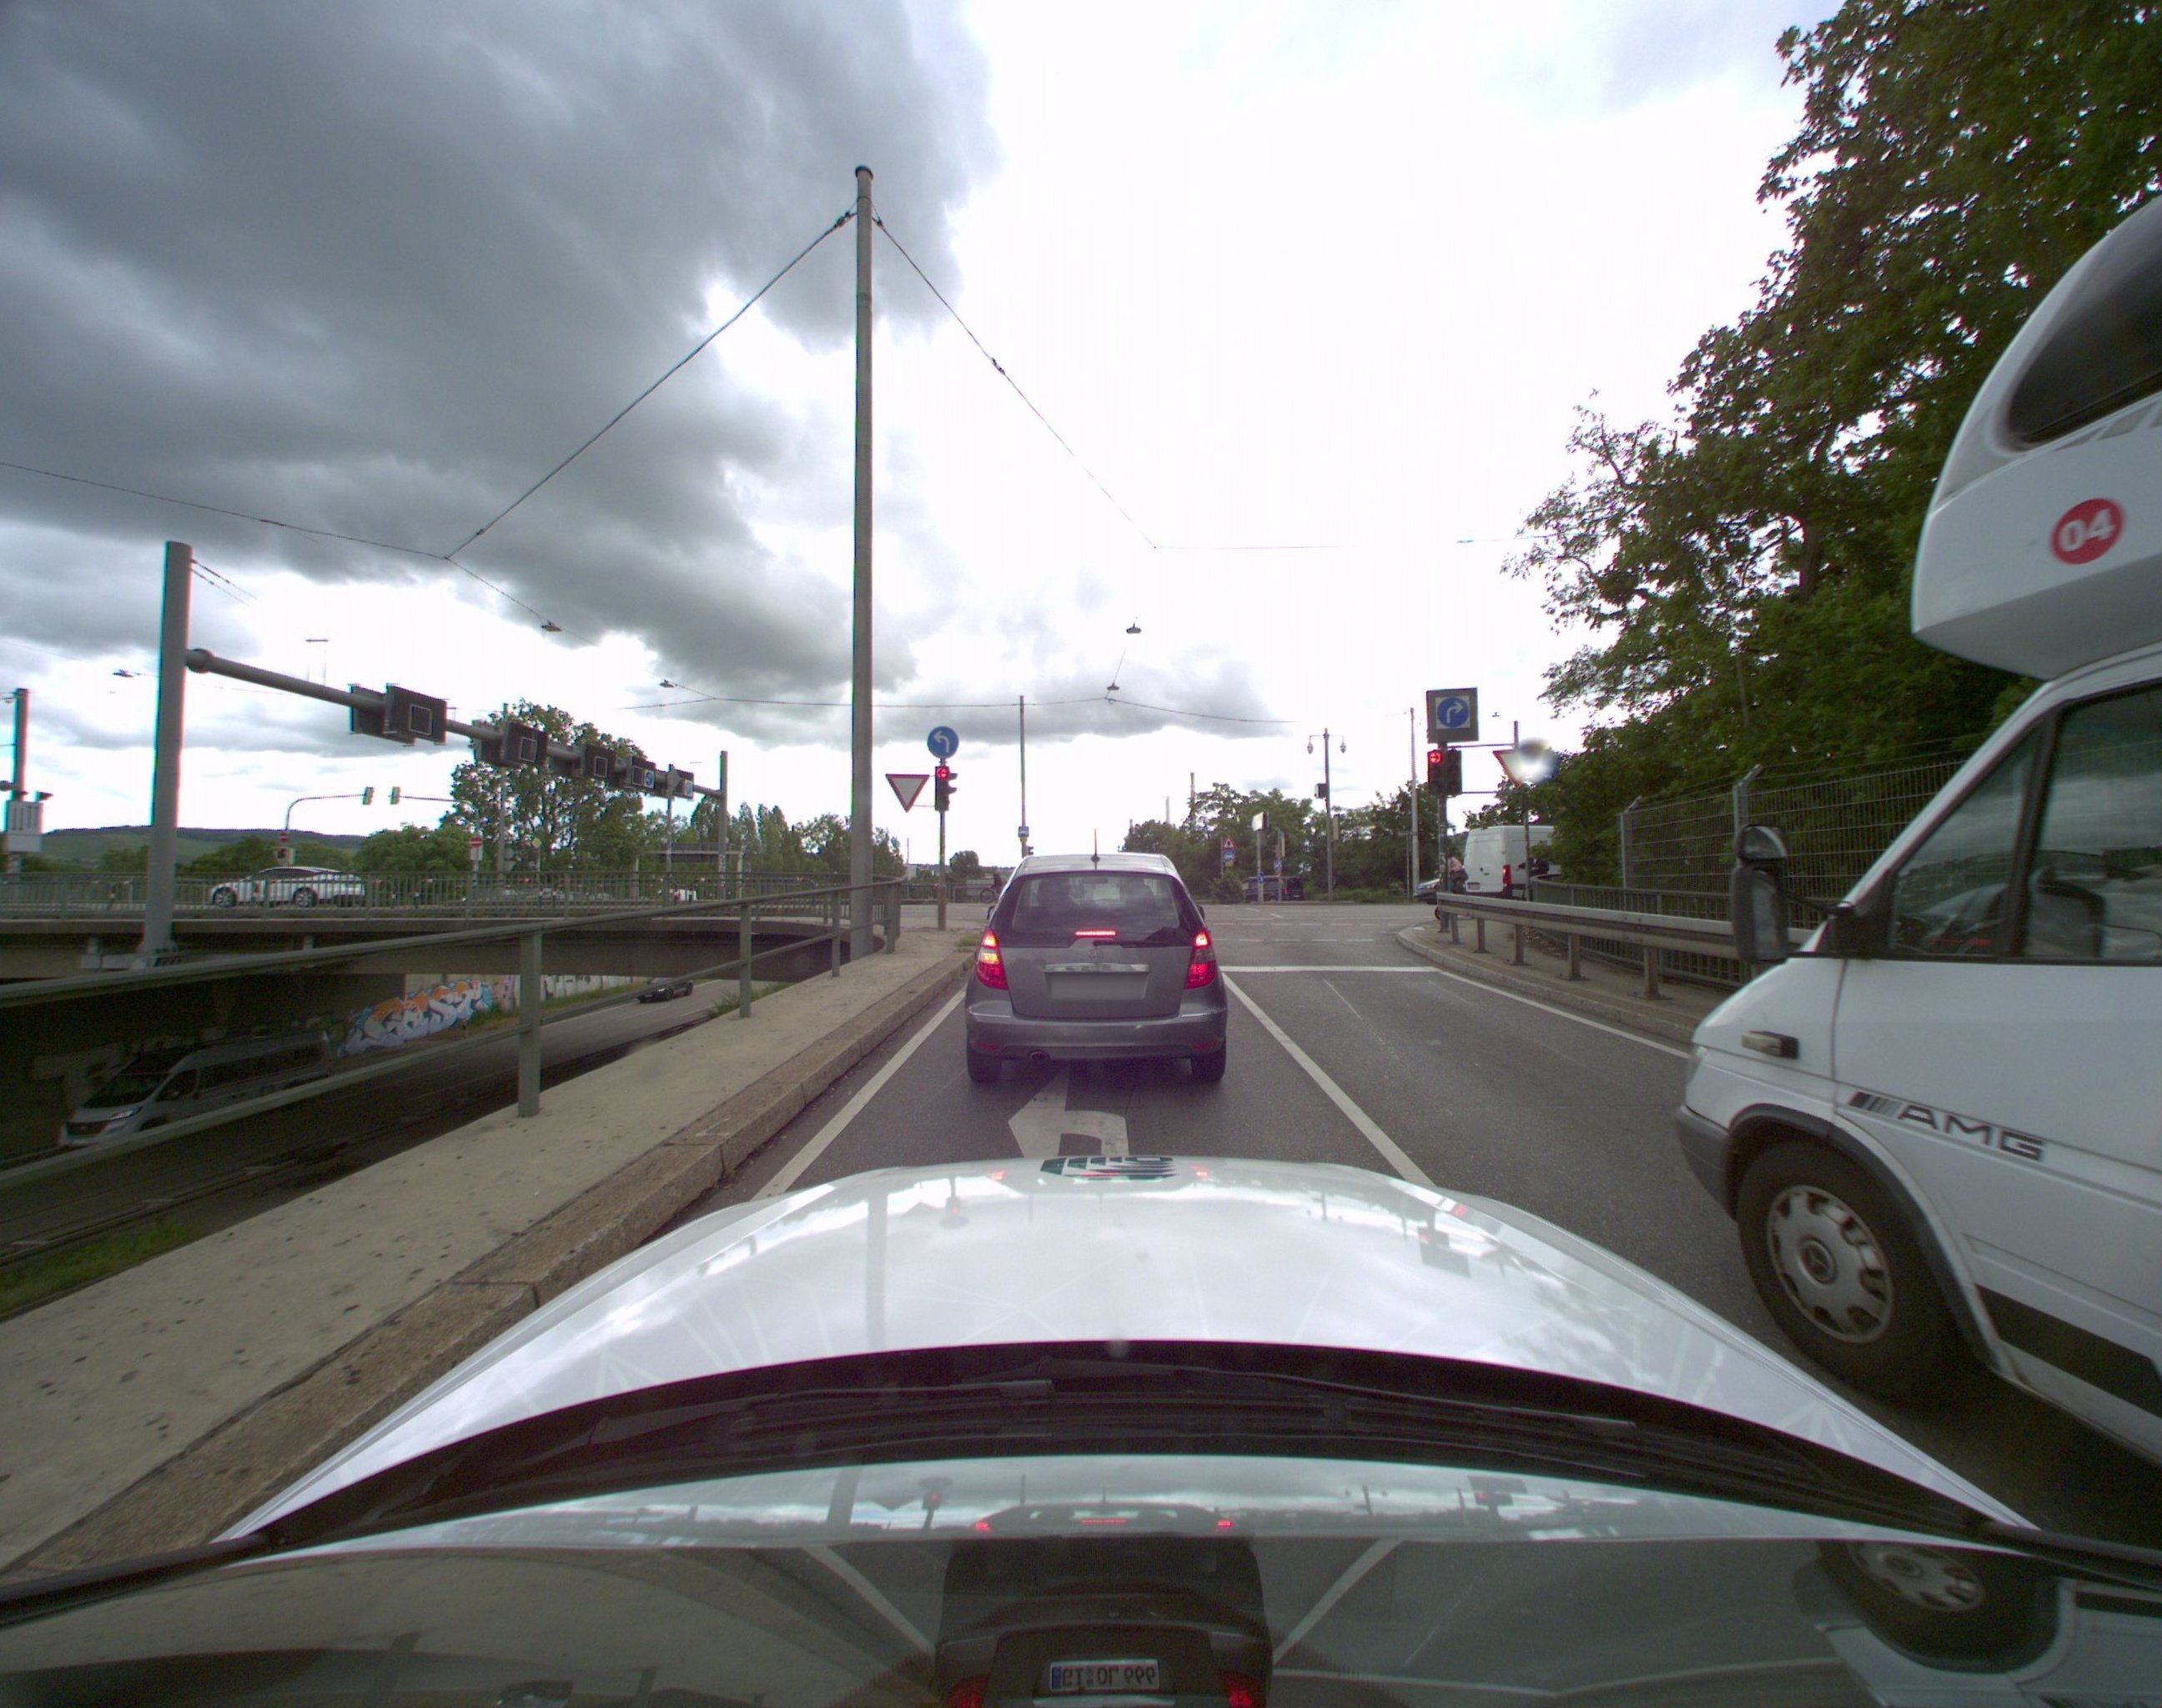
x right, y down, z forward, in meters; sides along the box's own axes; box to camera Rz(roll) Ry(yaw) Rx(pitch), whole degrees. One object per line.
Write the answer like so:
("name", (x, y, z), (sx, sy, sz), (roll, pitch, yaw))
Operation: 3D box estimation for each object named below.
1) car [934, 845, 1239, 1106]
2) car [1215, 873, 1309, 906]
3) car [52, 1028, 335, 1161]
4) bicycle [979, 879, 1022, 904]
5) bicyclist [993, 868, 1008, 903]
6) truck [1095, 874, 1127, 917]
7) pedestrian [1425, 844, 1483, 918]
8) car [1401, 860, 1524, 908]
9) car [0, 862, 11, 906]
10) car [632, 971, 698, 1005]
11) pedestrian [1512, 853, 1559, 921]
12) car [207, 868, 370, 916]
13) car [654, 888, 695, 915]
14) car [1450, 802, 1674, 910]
("car", (0.170, 0.732, 7.009), (1.849, 1.588, 4.005), (-1, 1, 4))
("car", (10.695, 2.031, 48.324), (2.016, 1.771, 5.175), (-1, 0, -44))
("car", (-27.751, 7.412, 25.979), (2.076, 2.535, 6.326), (-2, -2, 0))
("bicycle", (-3.991, 1.827, 40.269), (2.032, 1.124, 0.926), (-1, 0, -10))
("bicyclist", (-3.985, 1.541, 40.284), (0.653, 1.673, 0.867), (-1, 0, -9))
("truck", (2.815, 3.798, 77.349), (2.779, 3.518, 10.250), (-1, 0, 1))
("pedestrian", (8.751, 0.642, 19.126), (0.830, 1.678, 0.978), (-1, -3, -1))
("car", (14.690, 1.128, 31.449), (3.986, 1.665, 1.807), (-1, 0, -9))
("car", (-44.197, 1.219, 31.042), (3.979, 1.717, 1.935), (-1, 0, -4))
("car", (-28.254, 9.082, 55.499), (1.986, 1.751, 4.591), (-1, -2, 2))
("pedestrian", (11.120, 0.794, 19.930), (0.680, 1.619, 0.776), (-1, 0, -36))
("car", (-31.118, 1.458, 32.100), (4.380, 1.717, 1.936), (-1, 0, -2))
("car", (-36.333, 4.211, 72.874), (1.850, 2.215, 3.660), (-1, 0, -3))
("car", (15.816, 0.052, 26.782), (6.777, 2.783, 2.104), (-5, -3, -18))
